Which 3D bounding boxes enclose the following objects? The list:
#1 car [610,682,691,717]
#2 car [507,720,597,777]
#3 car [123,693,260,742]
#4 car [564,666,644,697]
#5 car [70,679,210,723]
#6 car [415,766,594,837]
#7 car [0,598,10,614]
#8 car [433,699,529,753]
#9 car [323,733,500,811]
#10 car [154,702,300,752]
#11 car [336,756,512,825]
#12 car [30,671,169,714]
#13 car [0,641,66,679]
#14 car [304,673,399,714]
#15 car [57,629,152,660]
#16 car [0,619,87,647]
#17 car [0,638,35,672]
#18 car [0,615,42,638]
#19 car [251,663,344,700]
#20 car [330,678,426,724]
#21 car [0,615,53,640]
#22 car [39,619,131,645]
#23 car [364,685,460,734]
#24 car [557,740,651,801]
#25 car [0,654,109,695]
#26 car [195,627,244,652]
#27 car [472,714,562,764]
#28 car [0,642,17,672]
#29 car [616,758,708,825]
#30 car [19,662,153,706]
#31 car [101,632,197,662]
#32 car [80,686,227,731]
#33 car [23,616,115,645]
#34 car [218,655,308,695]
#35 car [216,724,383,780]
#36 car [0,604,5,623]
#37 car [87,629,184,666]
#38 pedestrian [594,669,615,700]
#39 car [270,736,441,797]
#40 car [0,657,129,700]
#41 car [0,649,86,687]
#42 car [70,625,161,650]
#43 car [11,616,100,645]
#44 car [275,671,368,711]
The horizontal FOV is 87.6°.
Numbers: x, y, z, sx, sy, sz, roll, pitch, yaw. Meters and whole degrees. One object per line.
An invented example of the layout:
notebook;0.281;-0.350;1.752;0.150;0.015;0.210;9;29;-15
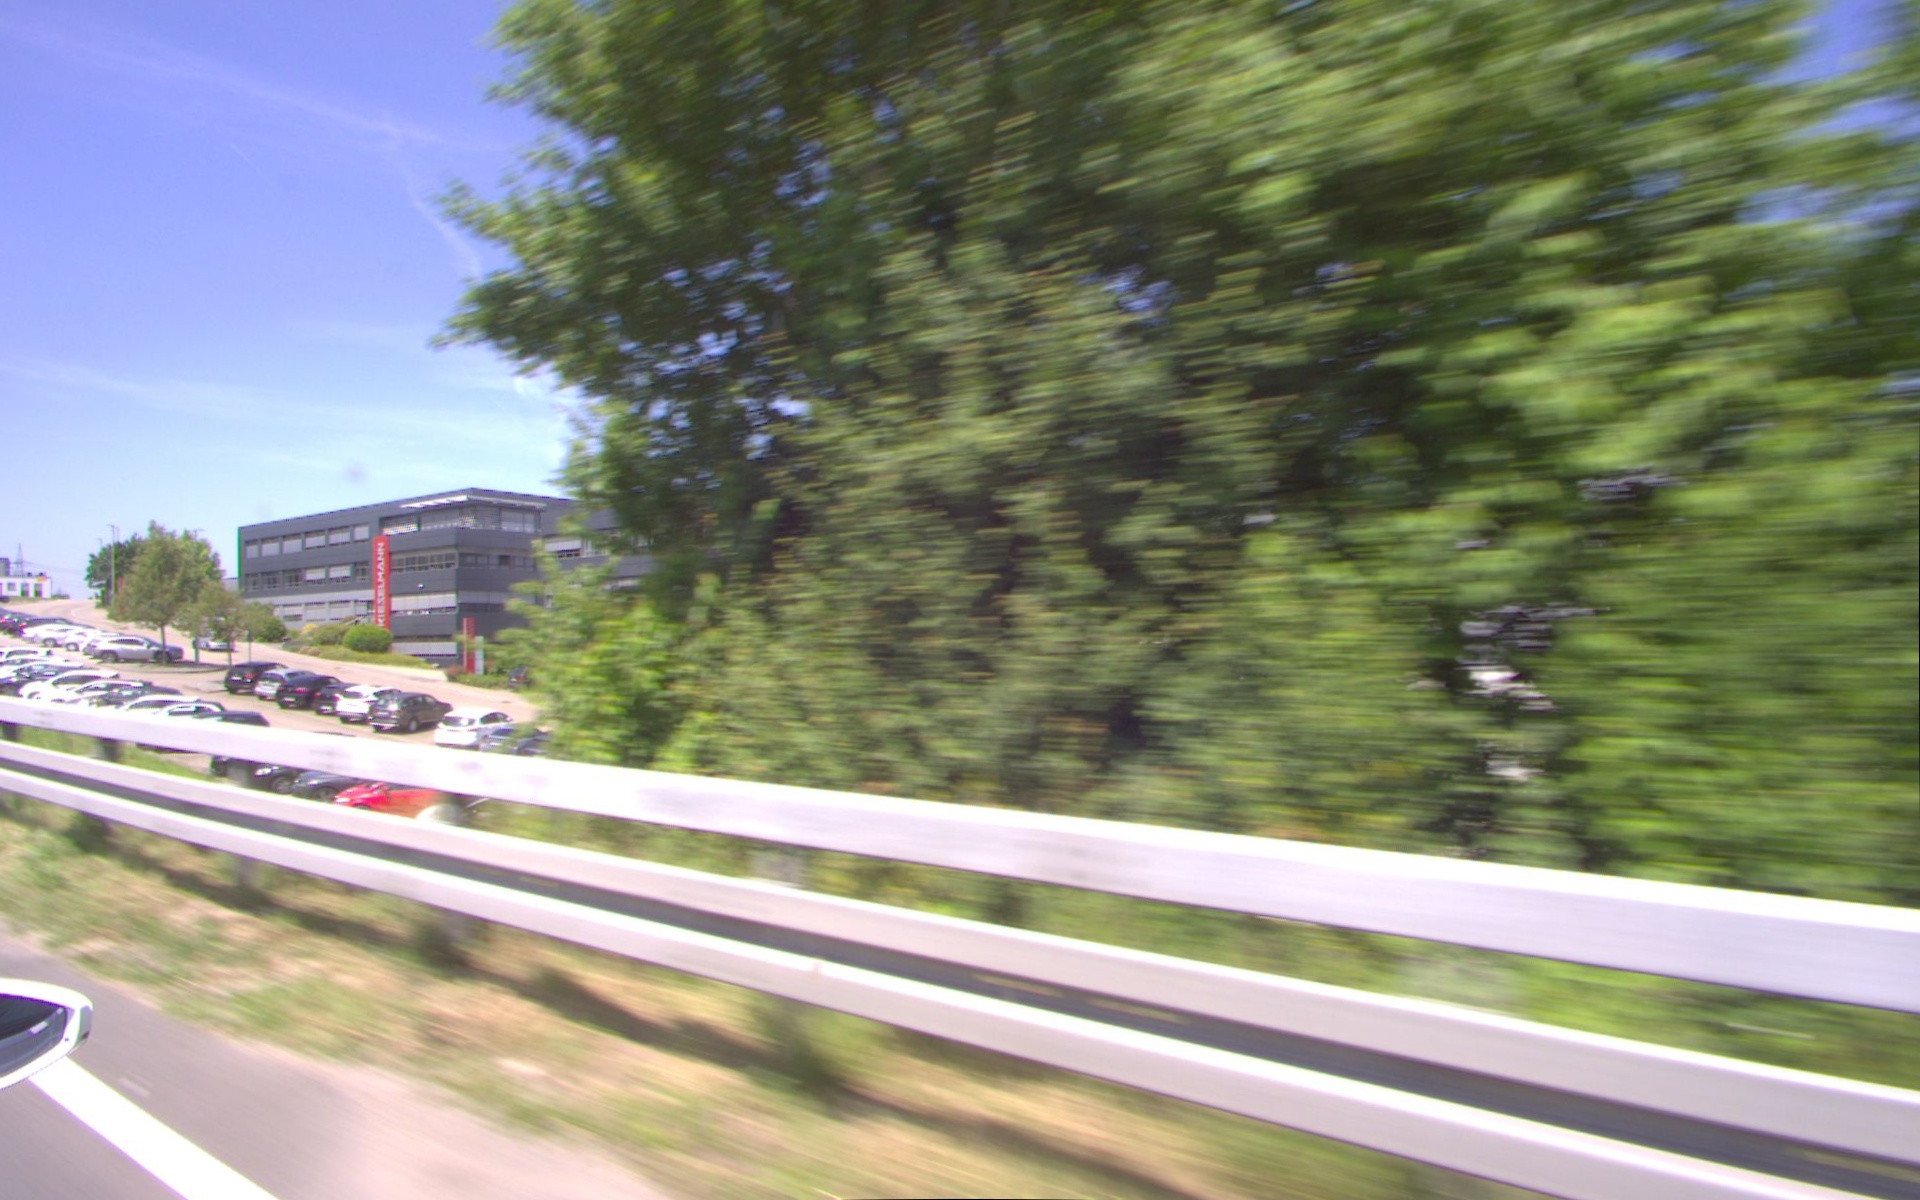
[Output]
car;-18.141;5.800;58.905;1.792;1.593;4.567;4;1;29
car;-16.369;5.939;40.441;1.756;1.530;4.411;6;-1;-1
car;-30.706;4.727;40.170;4.076;1.536;1.669;8;-5;-32
car;-22.022;5.006;62.034;1.792;1.593;4.567;4;1;30
car;-35.713;4.438;43.784;4.319;1.473;1.810;8;-5;-28
car;-13.182;5.845;29.080;4.361;1.682;1.887;9;-5;-34
car;-105.914;0.543;108.070;4.512;1.649;1.816;4;-3;-21
car;-20.849;5.464;43.805;1.756;1.681;4.587;5;-1;2
car;-17.574;5.545;32.258;4.664;2.037;2.068;8;-4;-30
car;-28.173;4.911;38.683;4.325;1.508;1.701;8;-5;-33
car;-16.141;5.788;30.452;4.342;1.577;1.981;7;-4;-21
car;-38.430;4.146;44.866;4.323;1.473;1.808;8;-5;-31
car;-50.806;3.100;53.306;4.408;1.705;1.876;9;-5;-33
car;-30.805;4.713;50.897;1.785;1.533;4.587;6;-1;2
car;-57.269;3.015;67.124;4.524;1.651;1.809;4;3;-30
car;-70.755;2.552;77.381;4.526;1.647;1.812;8;-4;-29
car;-53.835;2.915;54.746;1.853;1.705;4.381;5;-4;13
car;-78.620;2.046;82.030;4.526;1.647;1.812;8;-4;-29
car;-35.822;4.376;54.311;1.785;1.559;4.587;6;-1;2
car;-28.385;4.875;49.012;1.785;1.681;4.587;5;-1;2
car;-76.260;2.137;80.488;4.526;1.647;1.812;8;-4;-29
car;-61.798;2.279;70.838;4.516;1.541;1.812;3;2;-25
car;-25.682;5.106;47.128;1.756;1.681;4.587;5;-1;2
car;-13.876;6.634;39.284;1.756;1.556;4.412;5;-1;4
car;-45.173;3.688;49.488;4.323;1.577;1.877;8;-5;-31
car;-55.221;2.949;74.664;3.947;1.682;1.802;0;-3;36
car;-18.619;5.818;42.295;1.756;1.395;4.160;6;-1;2
car;-56.431;3.136;56.656;1.852;1.705;4.382;6;-4;-2
car;-10.969;7.043;37.207;1.756;1.560;4.412;5;-1;4
car;-40.715;3.919;46.805;4.323;1.577;1.852;8;-5;-31
car;-51.847;3.027;64.125;4.523;1.650;1.810;3;1;-30
car;-33.238;4.500;41.444;4.319;1.411;1.810;8;-5;-28
car;-64.442;2.223;72.556;4.526;1.647;1.812;8;-4;-29
car;-38.447;4.111;55.346;1.785;1.650;4.240;5;1;2
car;-23.115;5.377;35.305;4.664;1.505;1.904;8;-5;-30
car;-86.690;0.999;87.317;4.531;1.649;1.808;5;-3;-35
car;-53.894;3.130;65.591;4.528;1.650;1.808;8;4;-30
pedestrian;-21.083;4.999;59.397;0.817;1.743;0.631;3;-4;35
car;-20.287;5.635;33.839;4.664;1.582;1.950;8;-5;-30
car;-43.048;3.788;48.195;4.323;1.577;1.877;8;-5;-31
car;-48.144;3.452;51.505;4.316;1.577;1.880;8;-4;-26
car;-58.620;2.565;69.584;4.521;1.498;1.809;0;4;-30
car;-68.128;2.330;75.513;4.526;1.647;1.812;8;-4;-29
car;-32.920;4.640;51.769;1.786;1.533;4.587;6;-1;-1
